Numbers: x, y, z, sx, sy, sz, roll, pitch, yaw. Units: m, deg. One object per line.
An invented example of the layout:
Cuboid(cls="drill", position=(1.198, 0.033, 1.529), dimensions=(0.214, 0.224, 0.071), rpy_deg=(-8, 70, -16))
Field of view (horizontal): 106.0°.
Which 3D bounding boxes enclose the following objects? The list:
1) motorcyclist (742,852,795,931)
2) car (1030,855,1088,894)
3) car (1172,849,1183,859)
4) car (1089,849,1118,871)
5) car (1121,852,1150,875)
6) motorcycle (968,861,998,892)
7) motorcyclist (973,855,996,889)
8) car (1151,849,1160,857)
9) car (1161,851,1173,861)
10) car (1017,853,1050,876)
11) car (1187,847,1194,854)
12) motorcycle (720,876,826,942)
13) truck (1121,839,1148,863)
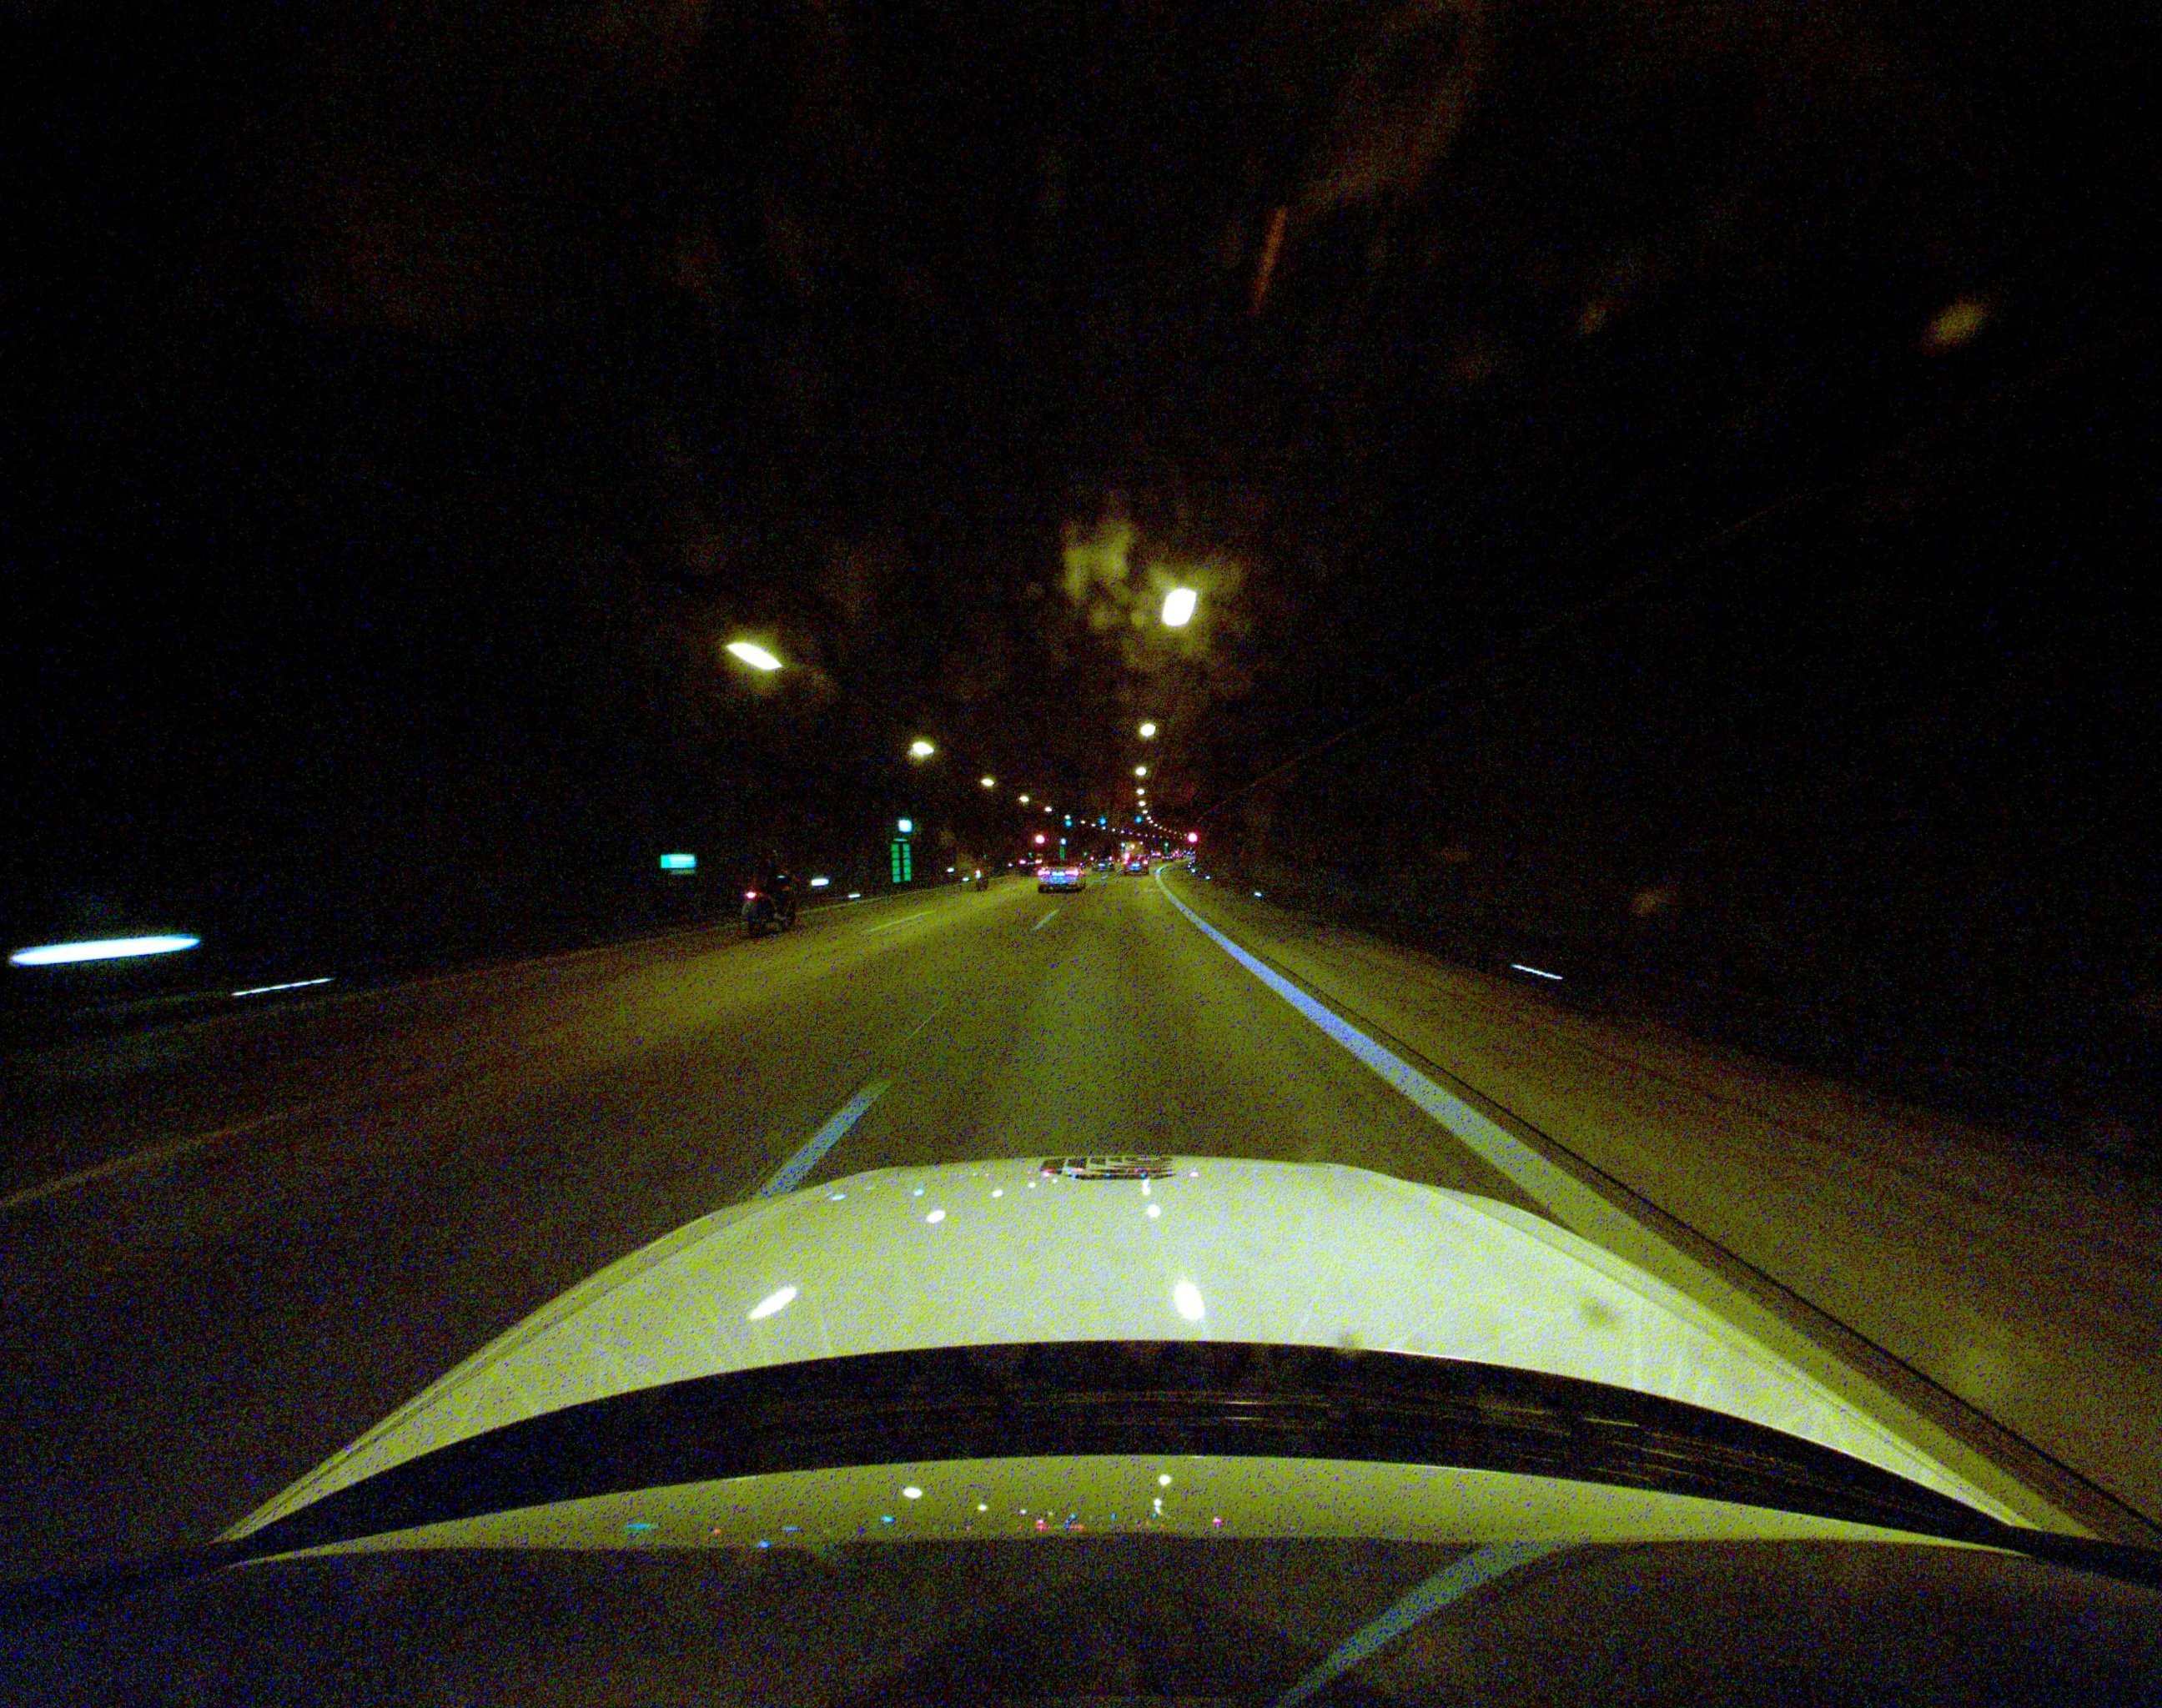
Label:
Cuboid(cls="motorcyclist", position=(-6.126, 0.719, 15.992), dimensions=(0.624, 1.489, 0.891), rpy_deg=(-2, -1, 2))
Cuboid(cls="car", position=(-0.861, 0.811, 34.610), dimensions=(1.984, 1.483, 4.005), rpy_deg=(-2, 0, 4))
Cuboid(cls="car", position=(18.557, -0.019, 156.448), dimensions=(1.847, 1.666, 4.011), rpy_deg=(-3, 0, 9))
Cuboid(cls="car", position=(2.099, 0.530, 74.175), dimensions=(1.981, 1.972, 4.011), rpy_deg=(-1, 0, 10))
Cuboid(cls="car", position=(4.053, 0.647, 59.768), dimensions=(1.829, 1.602, 4.008), rpy_deg=(-1, 0, 7))
Cuboid(cls="motorcycle", position=(-4.187, 0.947, 35.032), dimensions=(0.842, 1.246, 2.606), rpy_deg=(-1, 0, 3))
Cuboid(cls="motorcyclist", position=(-4.207, 0.775, 35.417), dimensions=(0.835, 1.477, 0.822), rpy_deg=(-1, 1, 4))
Cuboid(cls="car", position=(16.521, -0.215, 180.844), dimensions=(1.820, 1.618, 4.009), rpy_deg=(-3, 0, 8))
Cuboid(cls="car", position=(13.498, 0.303, 128.382), dimensions=(1.835, 1.568, 4.006), rpy_deg=(-3, 0, 5))
Cuboid(cls="car", position=(-3.470, 0.731, 60.195), dimensions=(1.776, 1.598, 3.807), rpy_deg=(-1, 0, 6))
Cuboid(cls="car", position=(28.464, -0.875, 211.700), dimensions=(1.823, 1.691, 4.009), rpy_deg=(-3, 0, 8))
Cuboid(cls="motorcycle", position=(-6.118, 1.053, 16.398), dimensions=(1.048, 1.157, 2.430), rpy_deg=(-1, 0, 4))
Cuboid(cls="truck", position=(7.906, -0.491, 118.996), dimensions=(3.066, 3.112, 10.050), rpy_deg=(-4, 1, 7))
